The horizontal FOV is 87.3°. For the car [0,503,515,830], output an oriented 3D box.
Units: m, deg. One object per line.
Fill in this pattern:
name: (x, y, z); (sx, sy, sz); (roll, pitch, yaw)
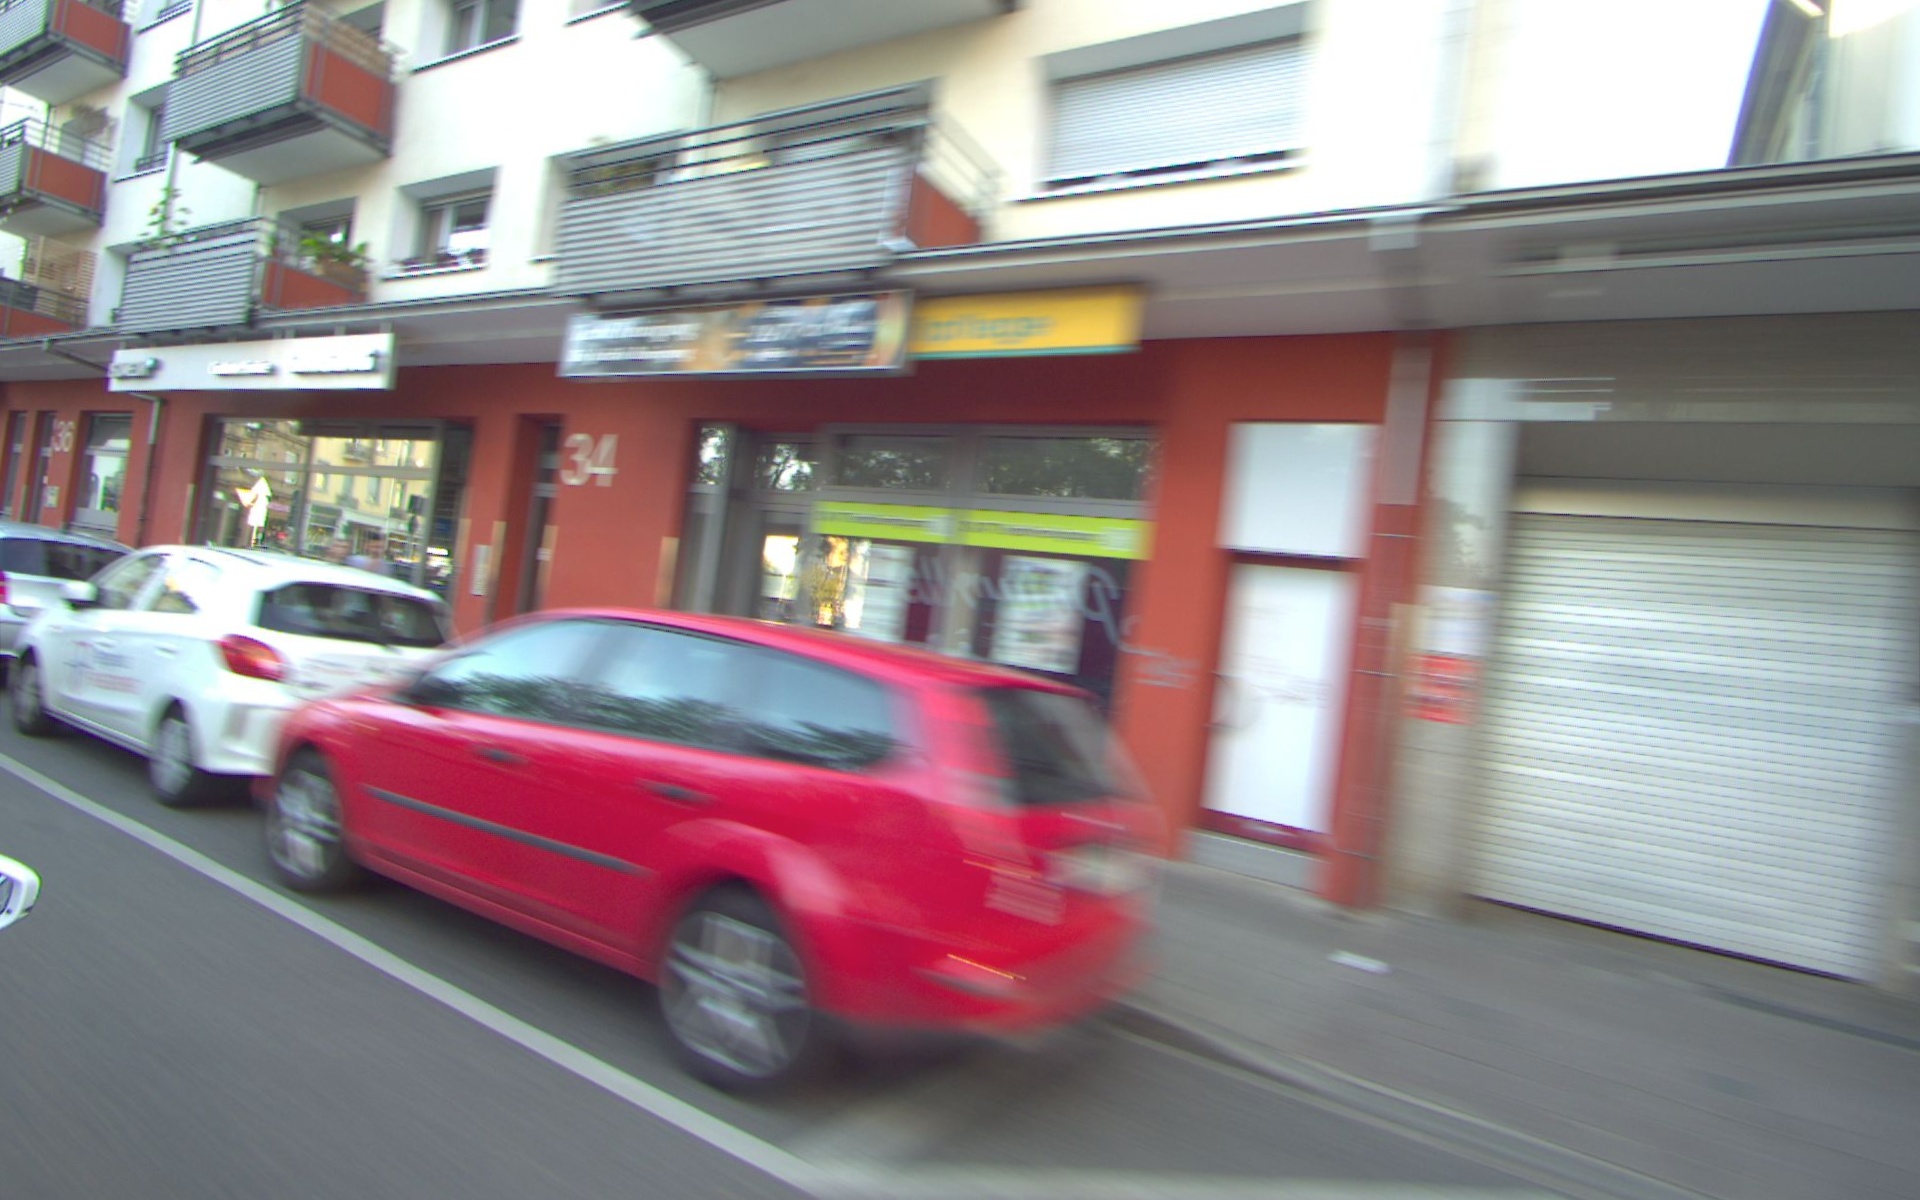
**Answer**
car: (-5.144, 0.359, 7.040); (3.982, 1.528, 1.611); (7, -4, 33)

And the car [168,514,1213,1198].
car: (-1.426, 0.699, 4.595); (4.573, 1.528, 1.718); (7, -4, 30)

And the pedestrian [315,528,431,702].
pedestrian: (-6.080, 0.156, 10.427); (0.781, 1.683, 0.648); (7, 2, 34)

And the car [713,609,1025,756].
car: (-1.306, 1.082, 13.821); (3.936, 1.352, 1.742); (7, -1, 34)

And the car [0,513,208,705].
car: (-9.438, -0.110, 9.737); (4.383, 1.467, 1.705); (7, -4, 30)

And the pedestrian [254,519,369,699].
pedestrian: (-6.445, 0.091, 10.006); (0.644, 1.683, 0.648); (7, 2, 33)
